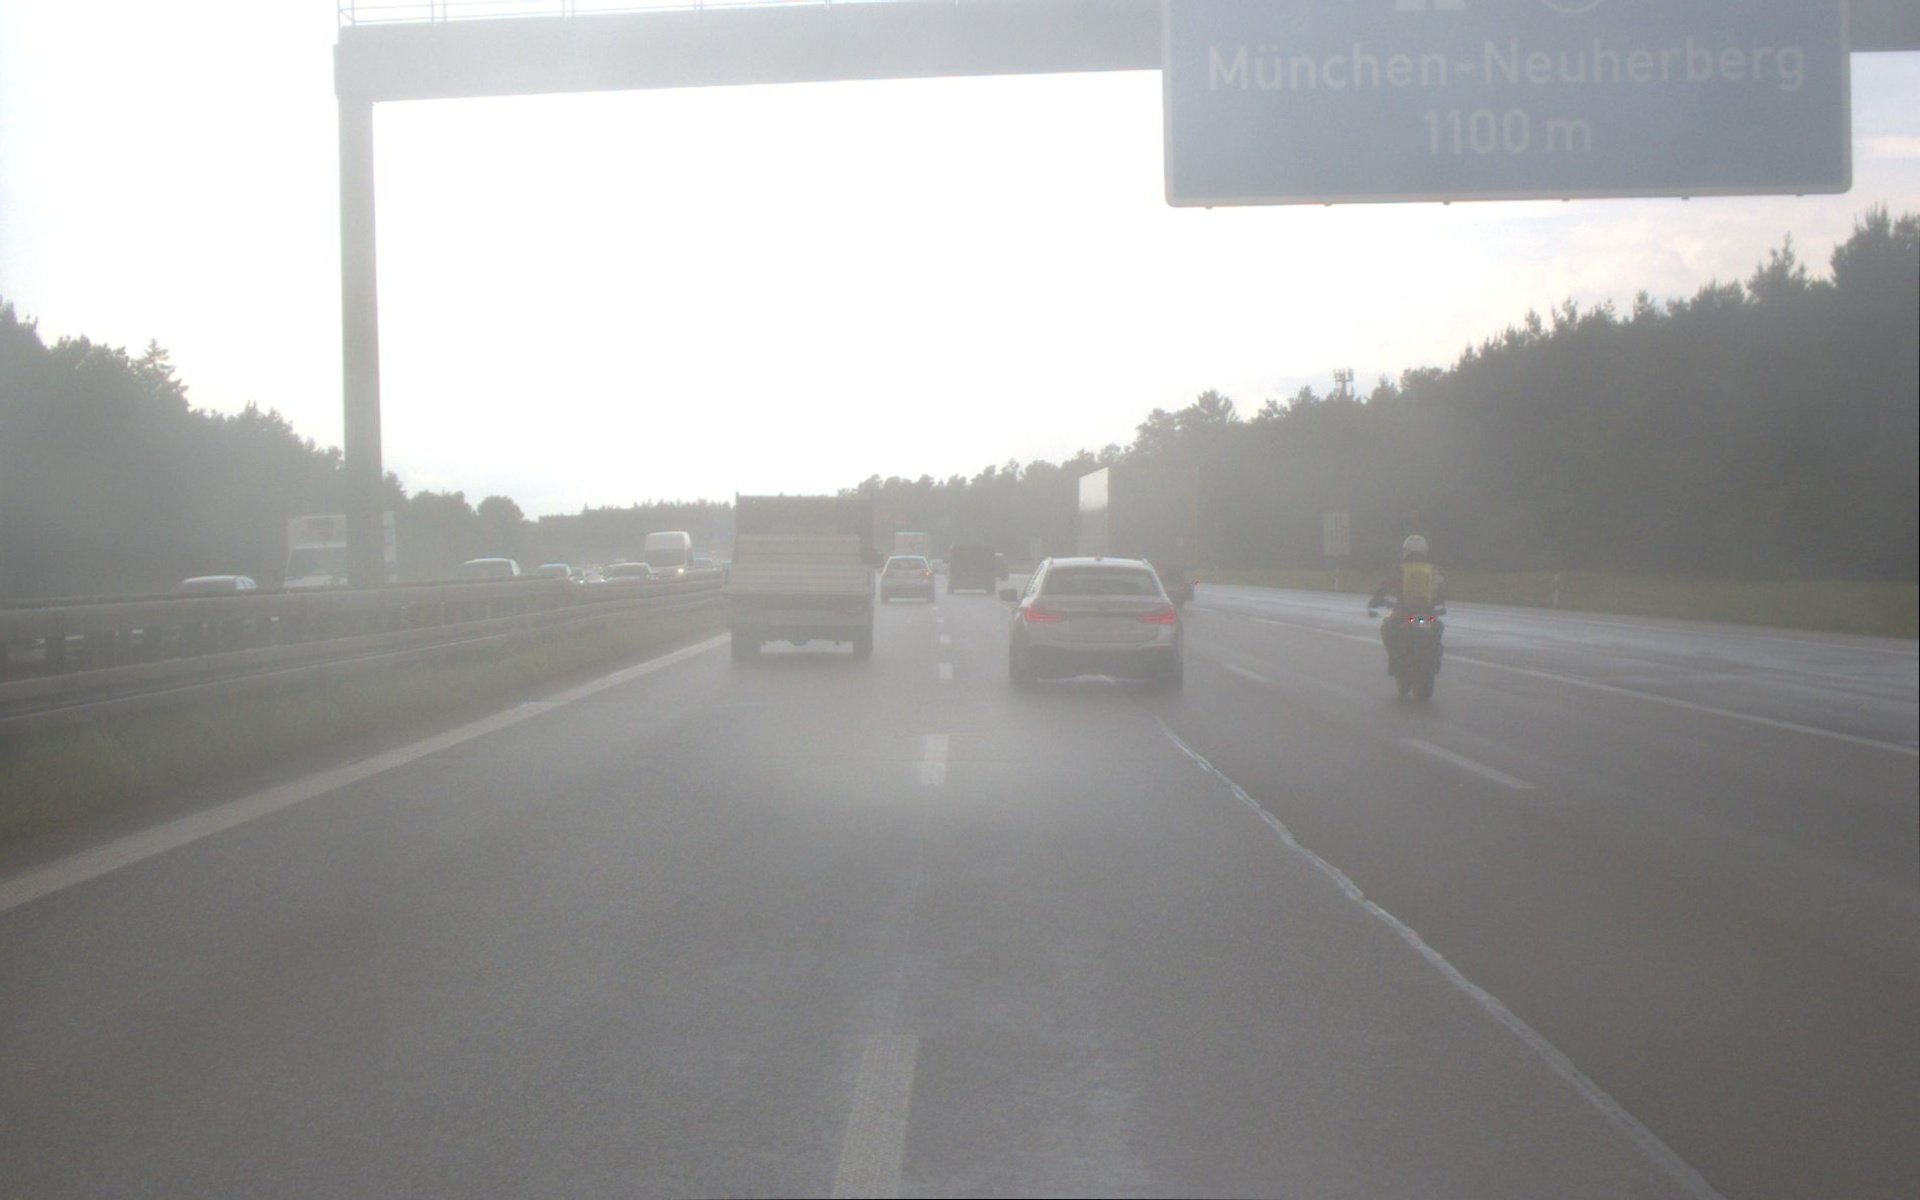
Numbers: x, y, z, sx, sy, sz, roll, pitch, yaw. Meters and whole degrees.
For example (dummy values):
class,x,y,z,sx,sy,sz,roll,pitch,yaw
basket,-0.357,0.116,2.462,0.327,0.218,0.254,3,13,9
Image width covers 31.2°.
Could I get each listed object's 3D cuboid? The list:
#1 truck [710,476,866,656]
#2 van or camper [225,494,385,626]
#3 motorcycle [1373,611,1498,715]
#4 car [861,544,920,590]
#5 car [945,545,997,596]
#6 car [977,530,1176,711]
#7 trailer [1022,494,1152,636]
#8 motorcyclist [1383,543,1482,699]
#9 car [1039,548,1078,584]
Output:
class,x,y,z,sx,sy,sz,roll,pitch,yaw
truck,-2.482,-0.496,50.217,2.137,2.480,5.313,0,1,-2
van or camper,-16.083,-0.989,84.856,2.301,3.102,7.543,0,1,1
motorcycle,4.986,0.642,36.170,1.000,1.028,2.174,0,1,0
car,-2.232,-1.068,111.015,1.831,1.461,4.000,1,1,0
car,0.426,-1.188,136.756,1.908,2.007,4.000,0,1,-1
car,1.334,0.180,38.928,2.078,1.878,5.011,1,1,2
trailer,3.699,-1.052,103.341,2.323,3.988,13.414,0,0,-5
motorcyclist,4.959,0.214,36.141,0.891,1.609,0.959,0,0,0
car,5.711,-1.971,199.963,1.993,2.007,4.000,1,0,-1
